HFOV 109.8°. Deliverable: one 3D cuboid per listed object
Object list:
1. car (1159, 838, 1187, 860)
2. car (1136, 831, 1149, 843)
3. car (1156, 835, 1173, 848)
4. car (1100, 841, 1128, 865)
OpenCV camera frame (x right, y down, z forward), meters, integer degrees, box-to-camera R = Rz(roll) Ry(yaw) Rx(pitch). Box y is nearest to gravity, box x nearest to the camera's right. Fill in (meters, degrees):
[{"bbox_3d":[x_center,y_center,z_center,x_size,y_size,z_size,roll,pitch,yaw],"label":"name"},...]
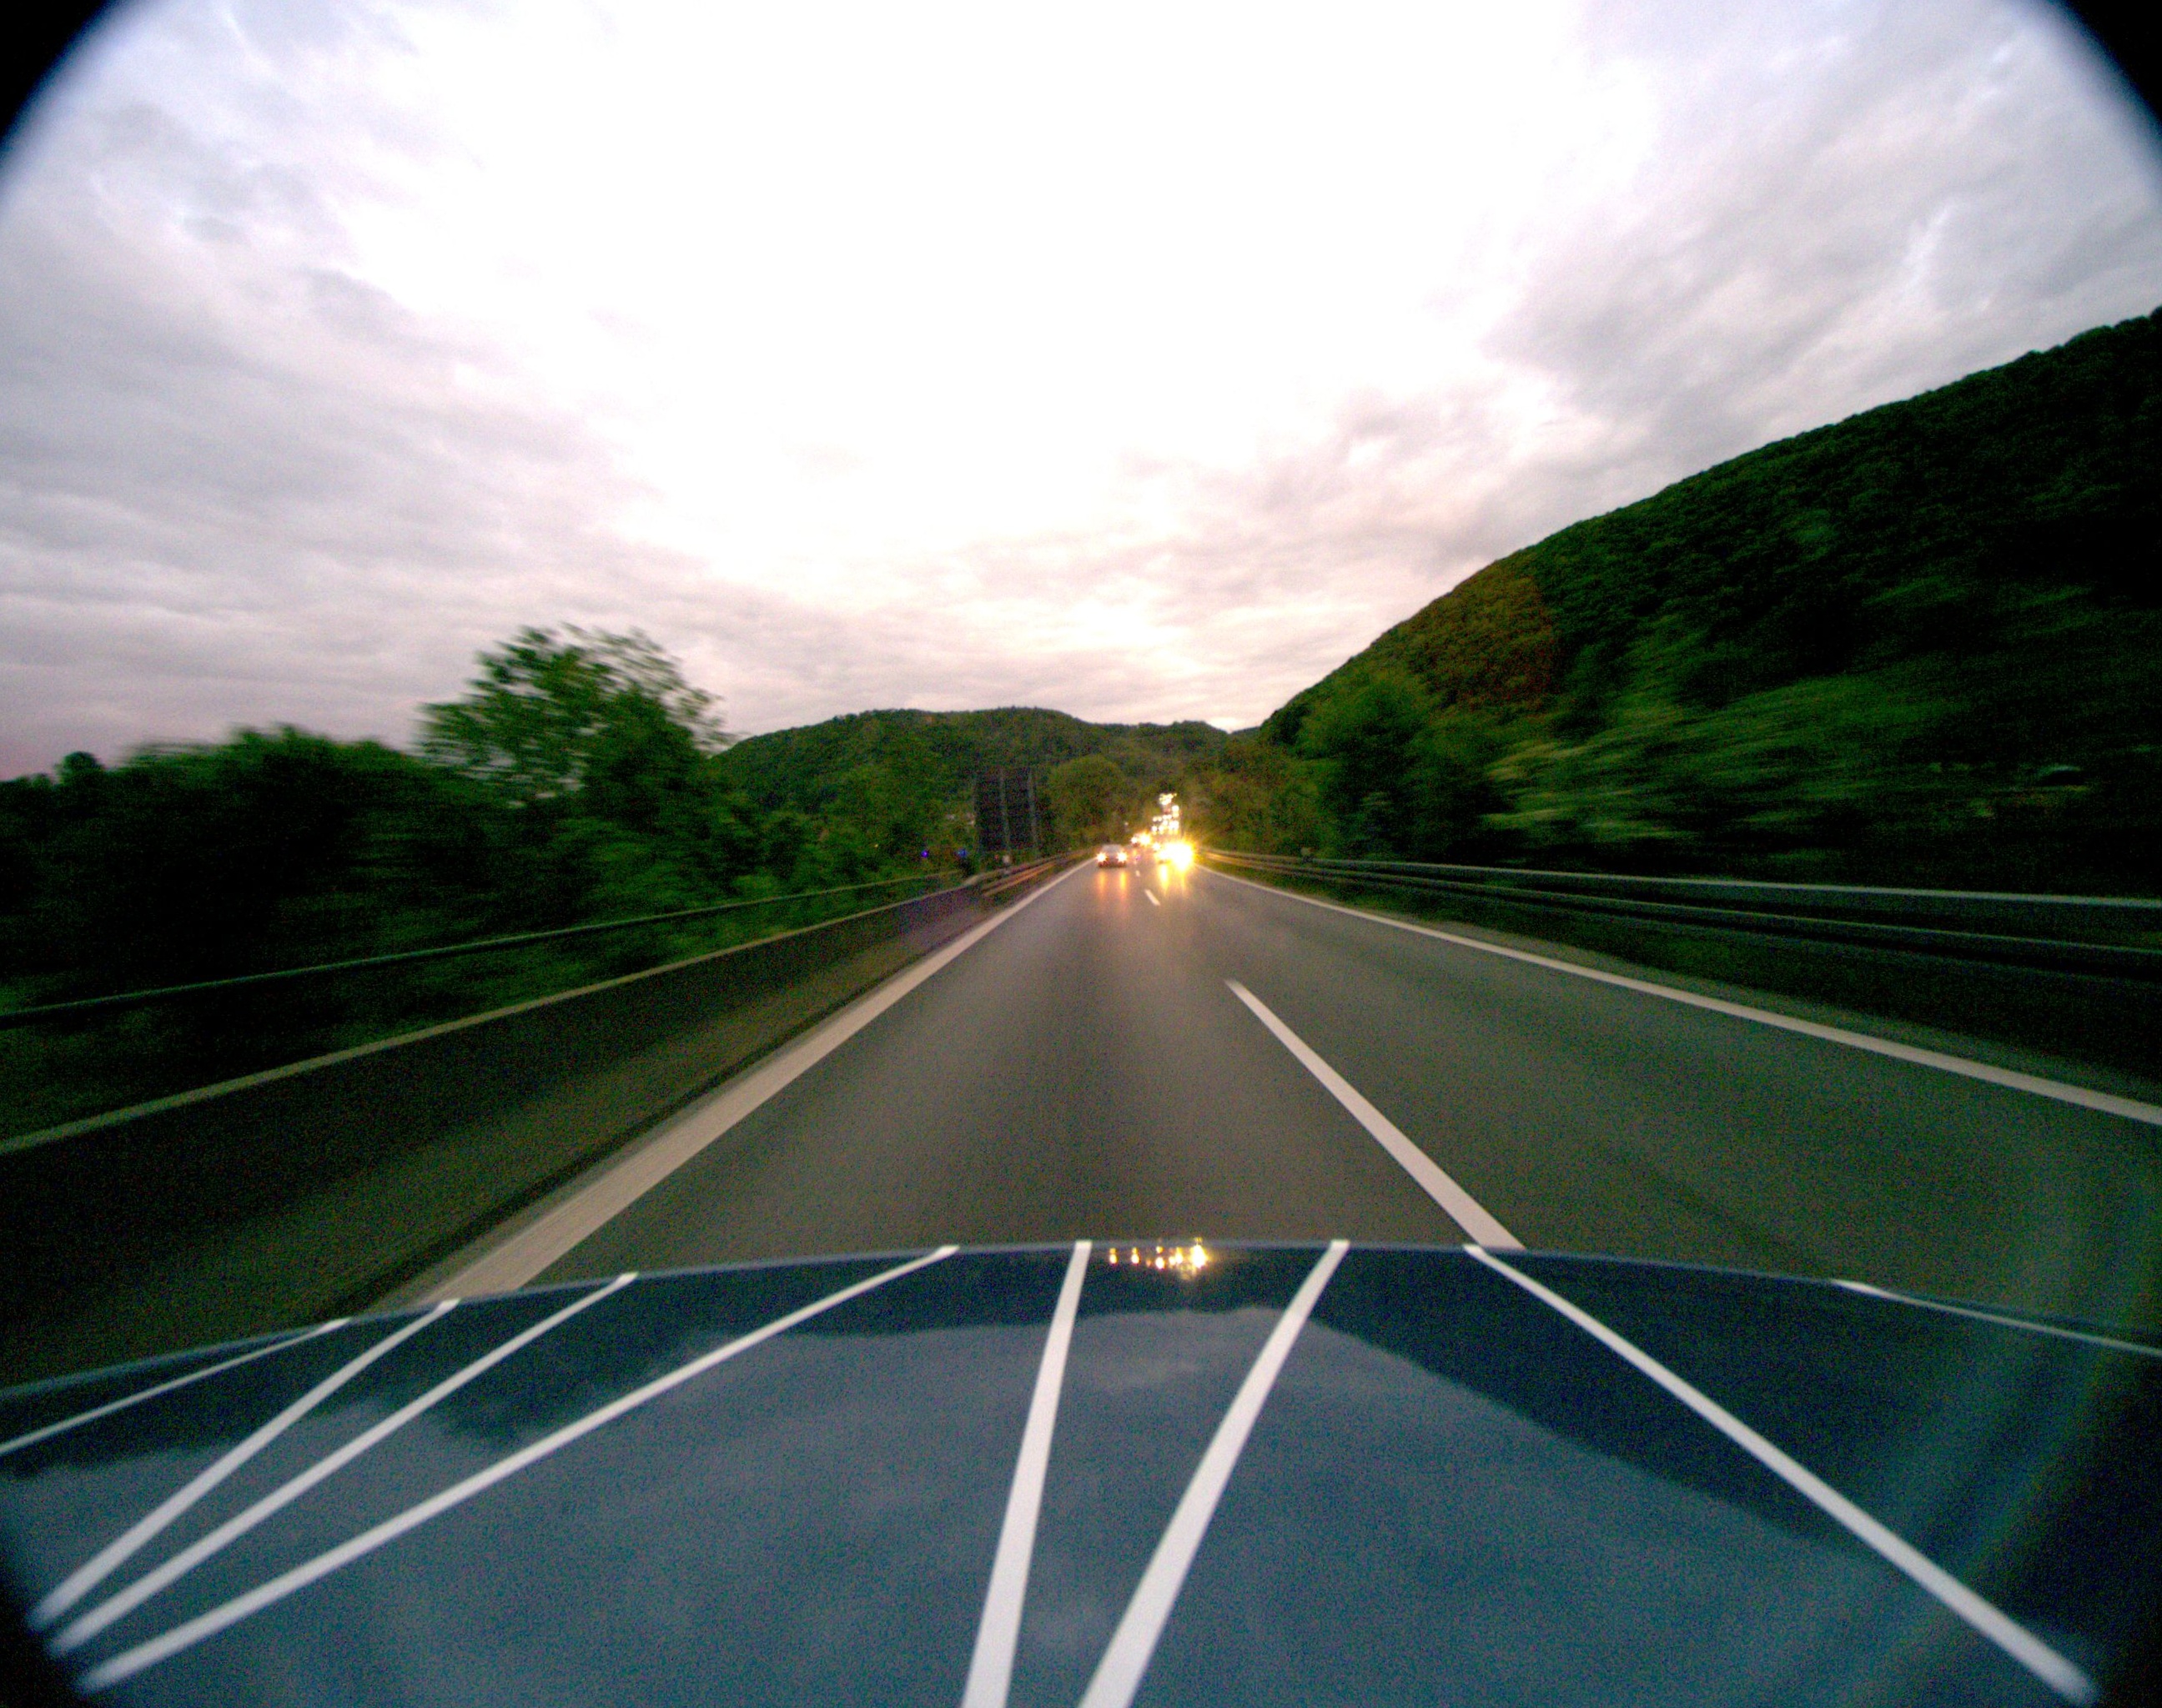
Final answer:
[{"bbox_3d":[6.615,-0.358,54.850,1.690,1.460,3.768,-3,1,3],"label":"car"},{"bbox_3d":[9.029,-2.544,111.621,1.737,1.641,3.669,-3,1,4],"label":"car"},{"bbox_3d":[9.370,-1.421,85.794,1.689,1.425,3.669,-3,1,4],"label":"car"},{"bbox_3d":[2.162,-0.094,50.893,1.690,1.443,3.668,-3,1,1],"label":"car"}]
